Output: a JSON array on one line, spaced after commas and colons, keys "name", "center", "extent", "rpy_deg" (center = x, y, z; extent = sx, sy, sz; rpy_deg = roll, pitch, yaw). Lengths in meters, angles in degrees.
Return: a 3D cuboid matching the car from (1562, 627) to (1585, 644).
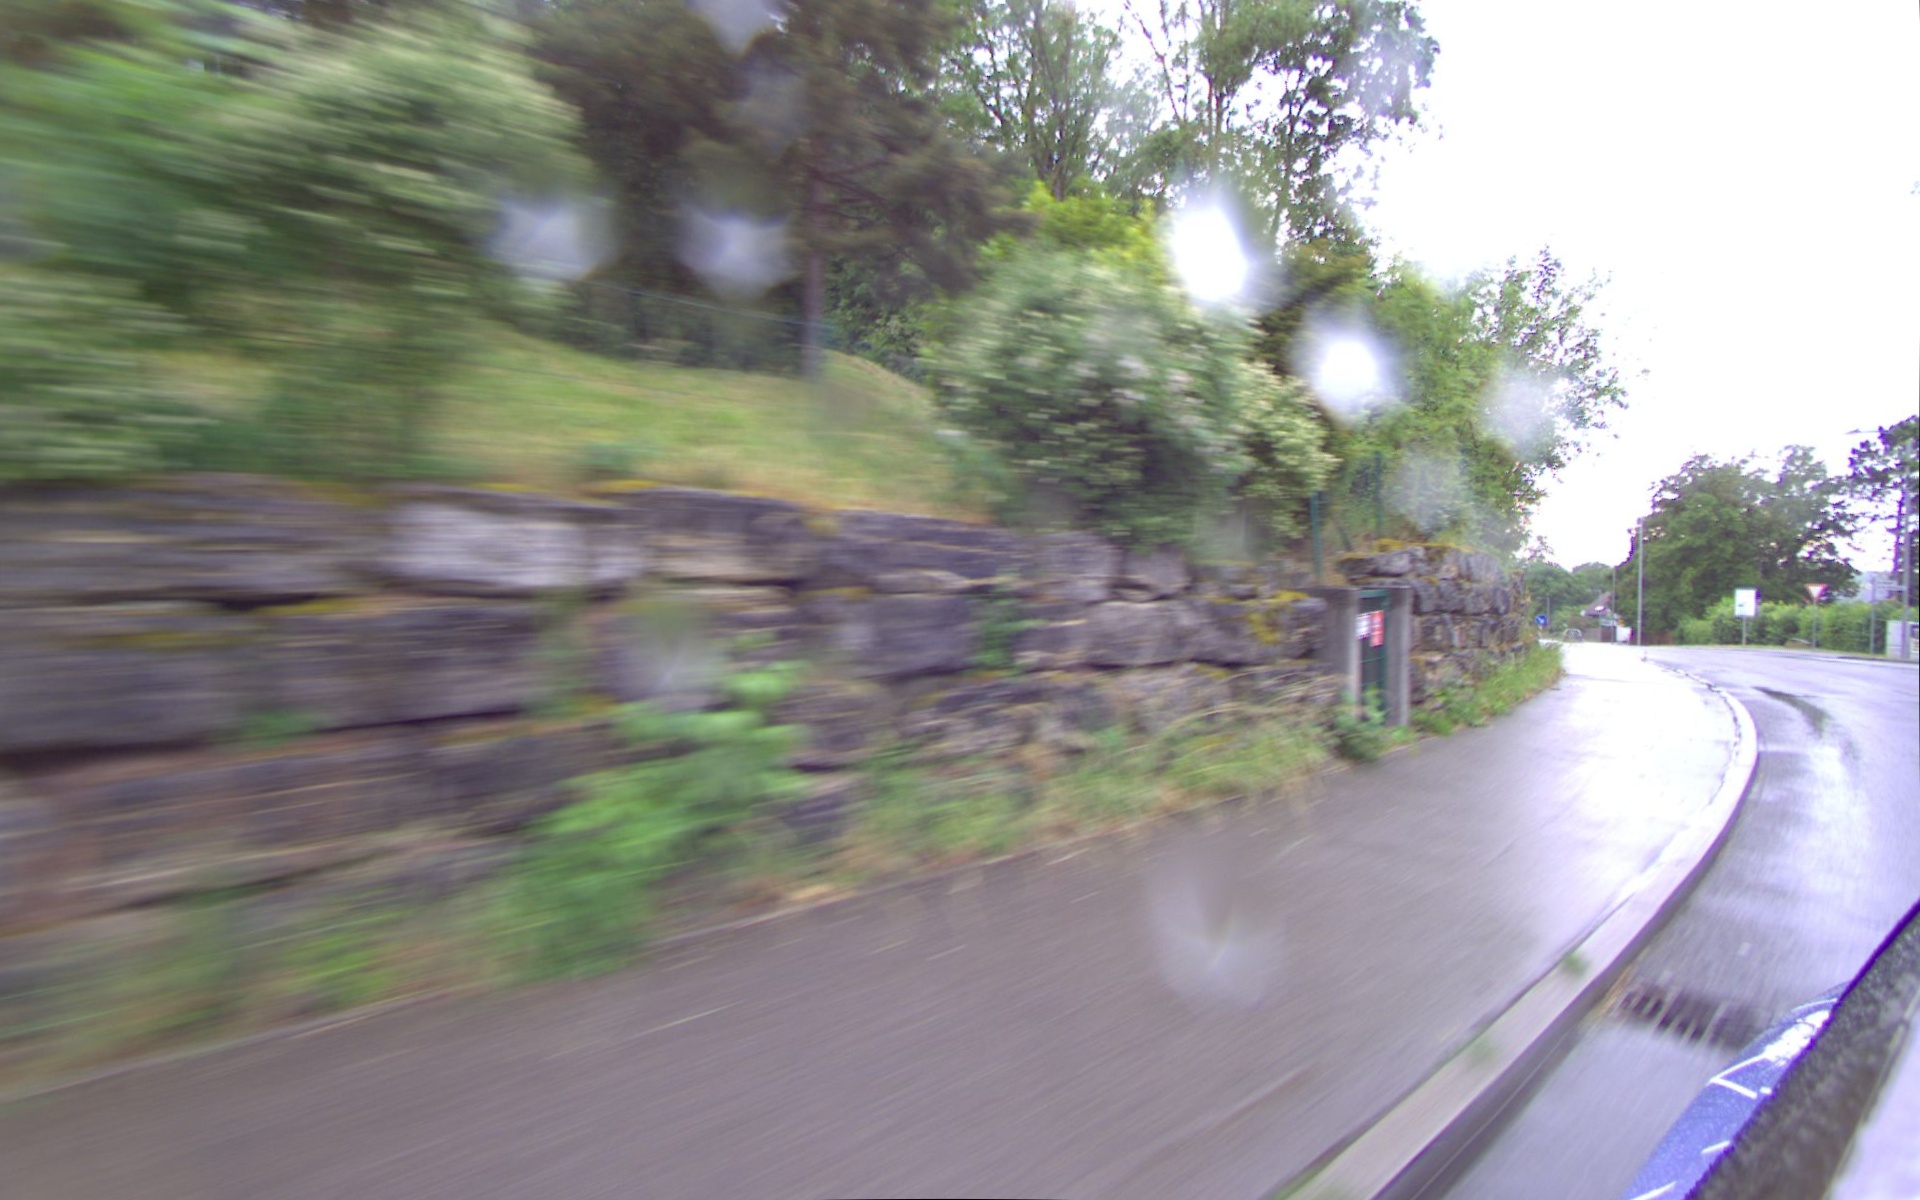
[{"name": "car", "center": [62.366, 3.568, 102.882], "extent": [1.823, 1.539, 4.576], "rpy_deg": [3, 0, 30]}]
